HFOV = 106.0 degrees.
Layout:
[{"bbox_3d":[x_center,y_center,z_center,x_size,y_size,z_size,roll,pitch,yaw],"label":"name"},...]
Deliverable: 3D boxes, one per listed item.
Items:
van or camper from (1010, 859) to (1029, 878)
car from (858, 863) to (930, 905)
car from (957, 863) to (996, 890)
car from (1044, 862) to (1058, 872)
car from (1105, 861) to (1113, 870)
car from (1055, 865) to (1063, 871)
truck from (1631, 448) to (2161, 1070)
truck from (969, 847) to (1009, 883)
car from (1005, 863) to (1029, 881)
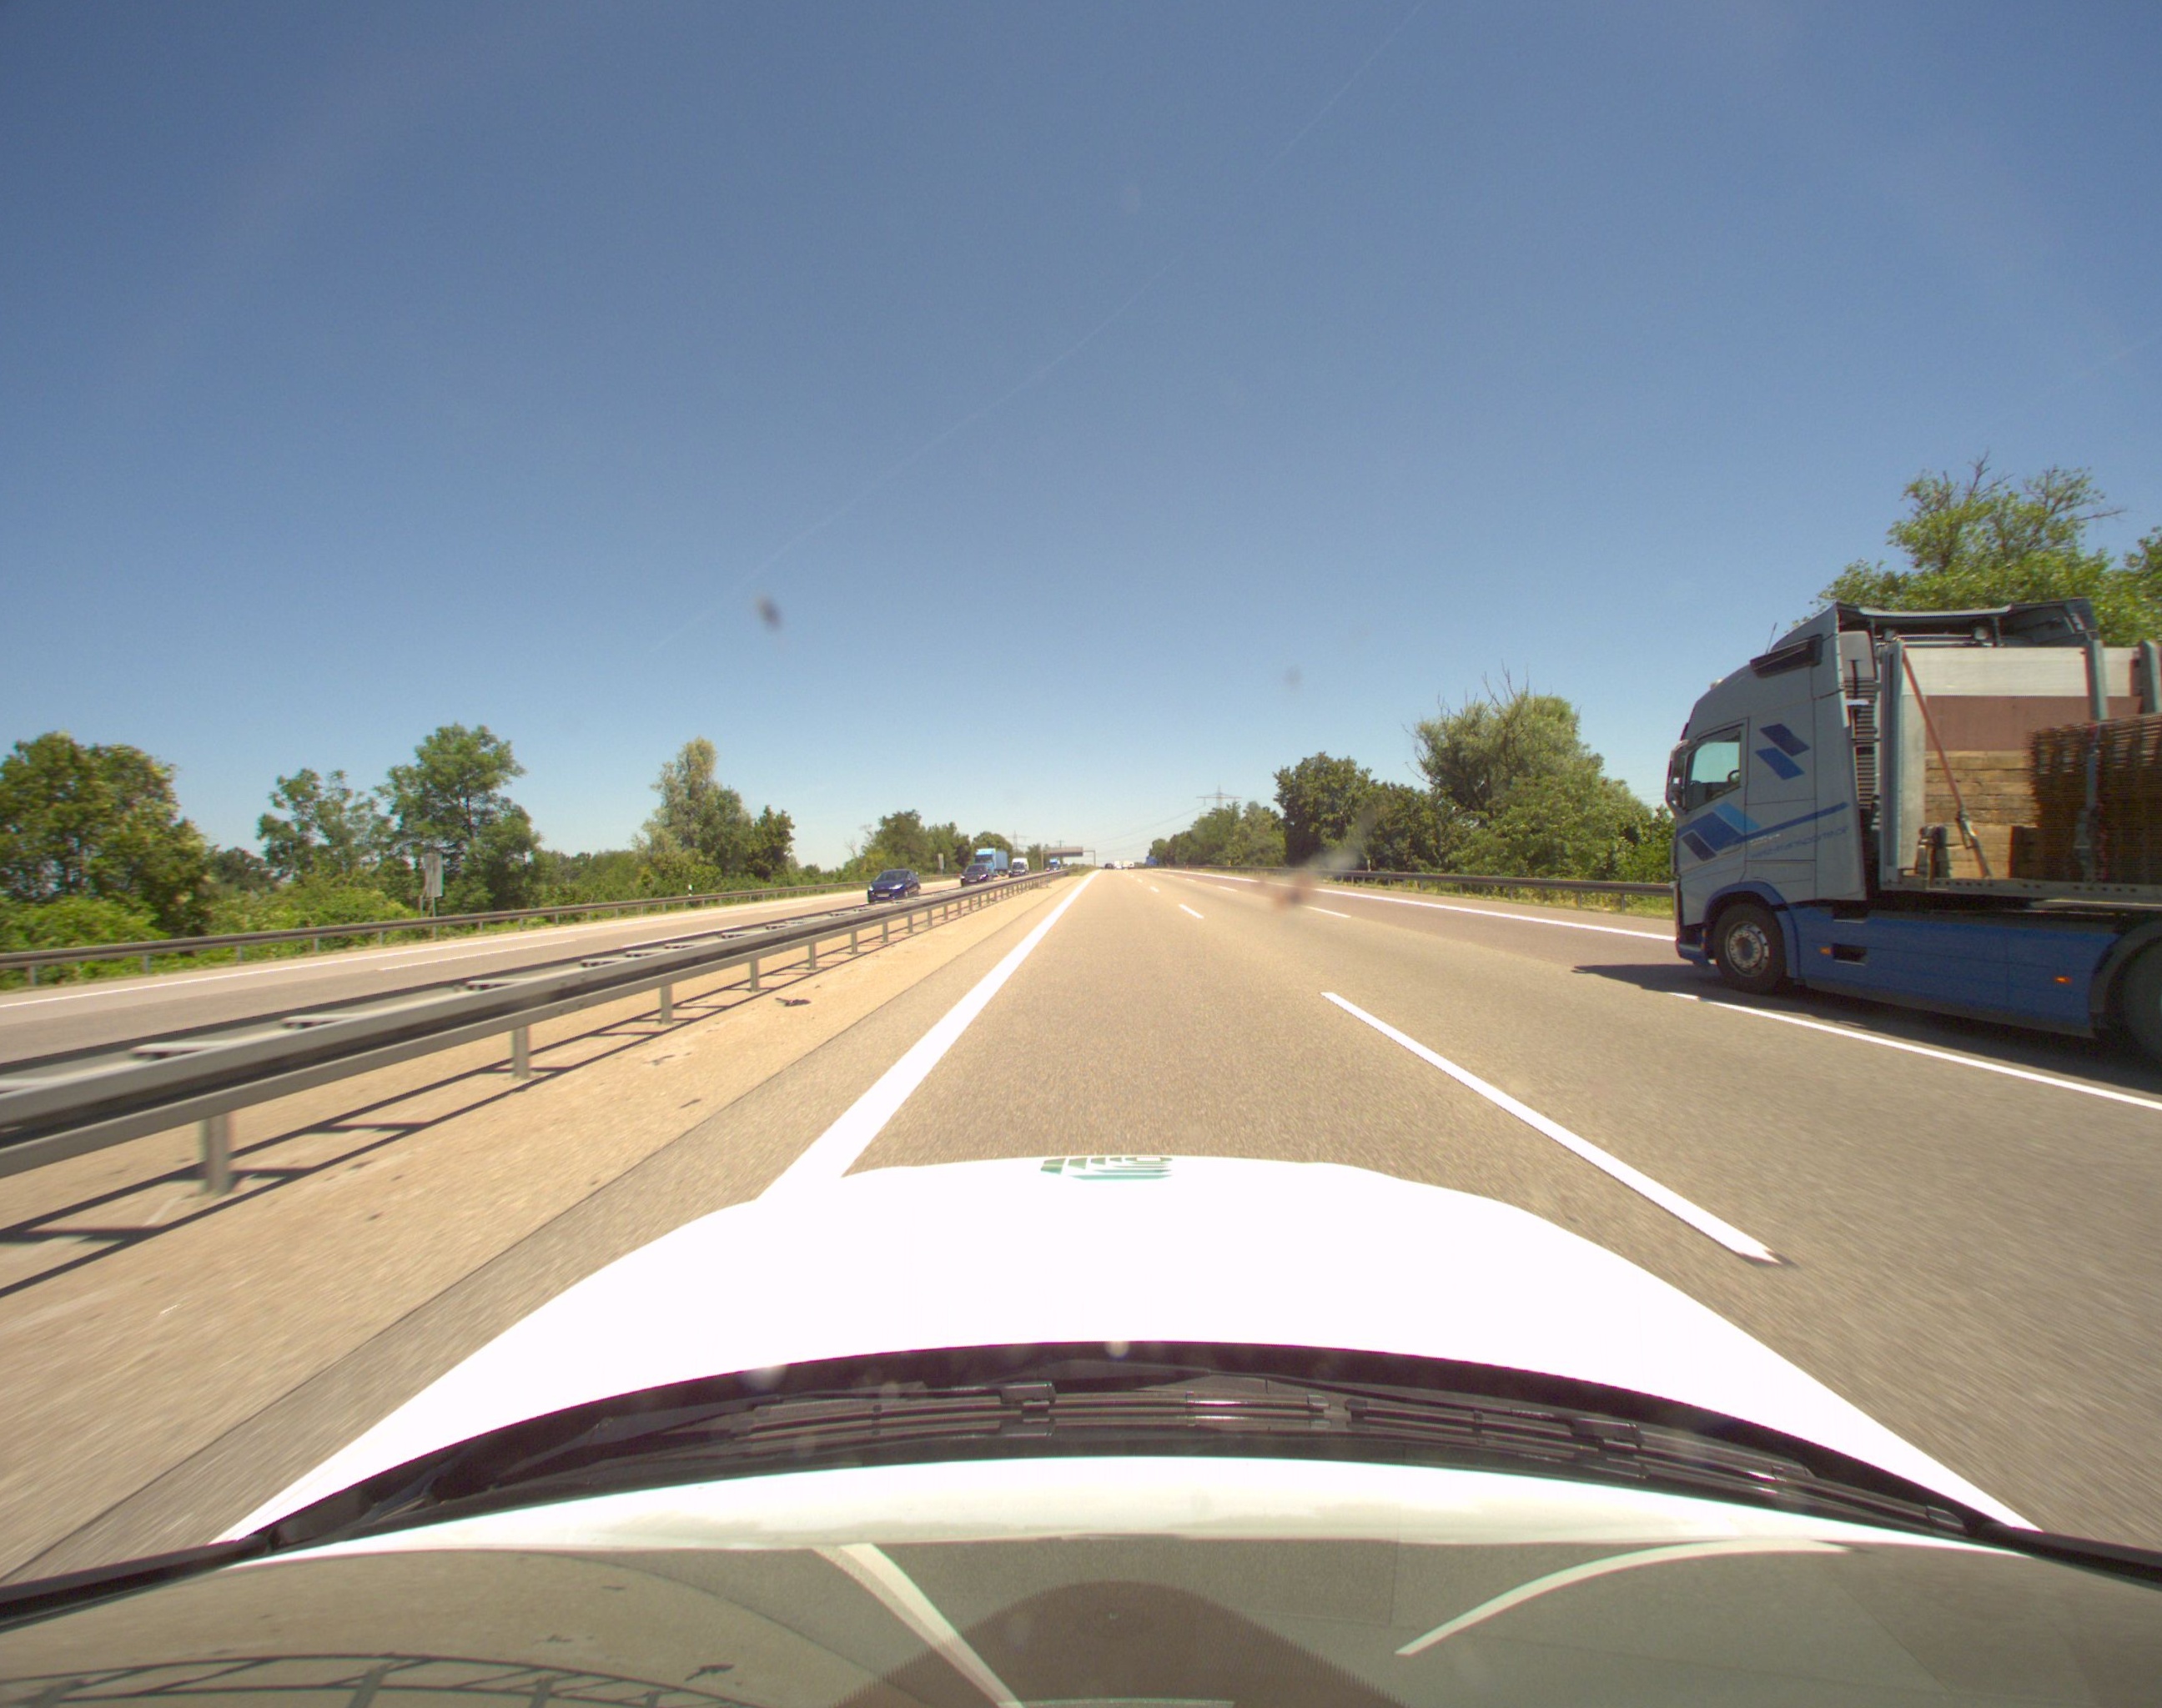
[{"bbox_3d":[-8.996,2.137,120.557,1.987,2.566,7.035,-4,-1,1],"label":"van or camper"},{"bbox_3d":[-8.423,1.327,37.121,1.986,1.604,4.601,-5,-1,2],"label":"car"},{"bbox_3d":[-7.365,1.567,57.862,1.986,1.690,4.410,-2,-1,2],"label":"car"},{"bbox_3d":[-4.955,2.162,135.284,1.986,1.484,4.788,-2,-1,2],"label":"car"},{"bbox_3d":[6.296,2.488,181.454,1.784,2.014,3.889,-1,-1,2],"label":"car"},{"bbox_3d":[-5.713,3.645,211.899,1.986,1.618,4.001,-2,-1,1],"label":"car"},{"bbox_3d":[8.287,-0.660,1.982,2.959,3.957,16.615,-1,-1,1],"label":"truck"},{"bbox_3d":[-13.452,1.662,121.001,3.214,4.720,16.862,-4,-1,1],"label":"truck"},{"bbox_3d":[-6.830,1.902,87.710,1.986,1.690,4.410,-3,-1,2],"label":"car"}]
